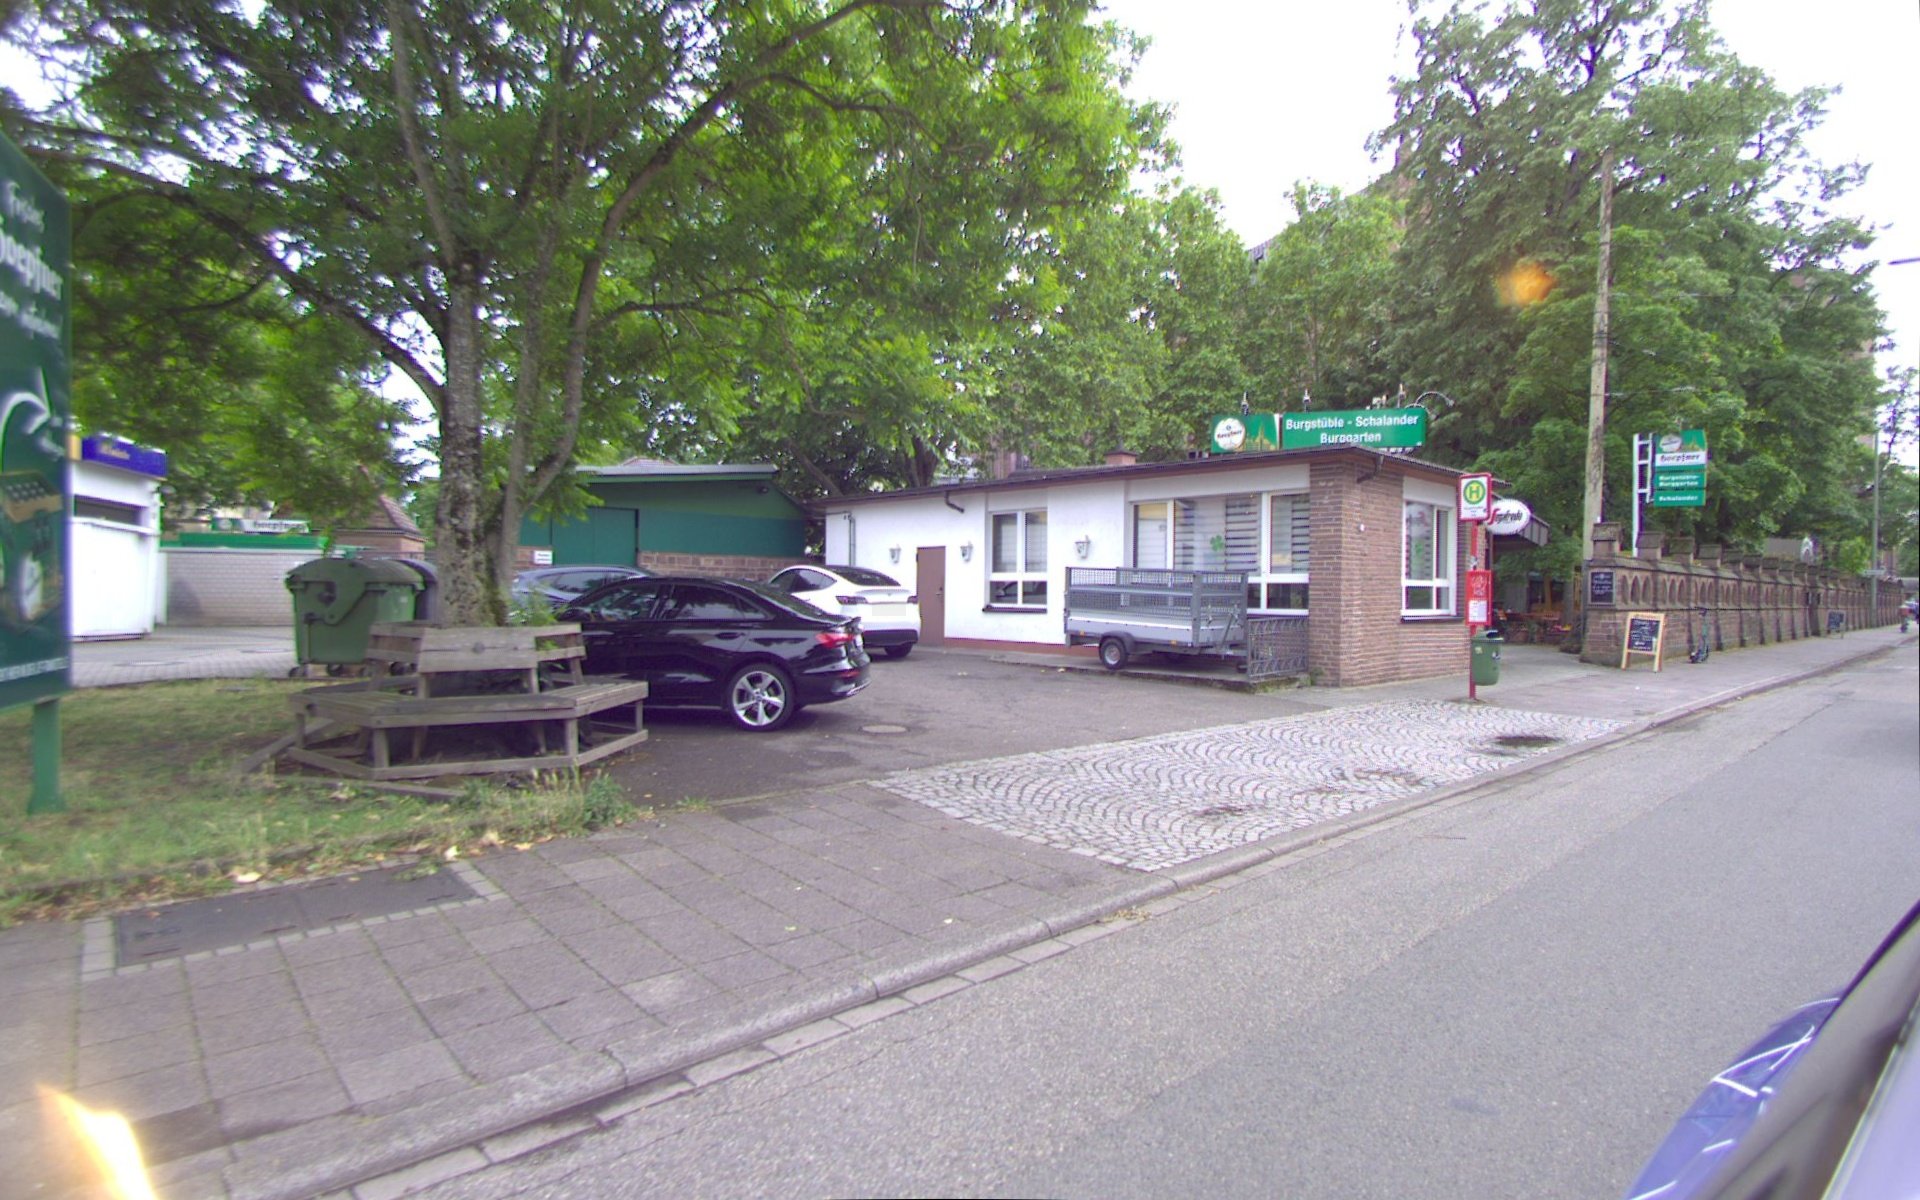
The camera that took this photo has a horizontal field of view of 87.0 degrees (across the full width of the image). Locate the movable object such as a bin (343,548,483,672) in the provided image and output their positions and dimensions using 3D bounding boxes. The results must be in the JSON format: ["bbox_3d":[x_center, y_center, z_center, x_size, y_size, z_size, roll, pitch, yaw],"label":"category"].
[{"bbox_3d":[-7.154,0.139,13.321,1.102,1.510,1.295,3,-2,-2],"label":"movable object such as a bin"}]

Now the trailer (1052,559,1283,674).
[{"bbox_3d":[3.104,0.194,15.523,1.593,1.558,3.167,0,1,-41],"label":"trailer"}]

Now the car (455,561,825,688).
[{"bbox_3d":[-4.204,0.274,13.819,4.455,1.444,1.879,2,3,0],"label":"car"}]

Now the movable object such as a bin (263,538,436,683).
[{"bbox_3d":[-7.145,0.115,11.948,1.102,1.533,1.422,4,-1,-1],"label":"movable object such as a bin"}]

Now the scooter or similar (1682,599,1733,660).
[{"bbox_3d":[16.412,0.630,22.213,1.386,1.254,0.578,0,4,-43],"label":"scooter or similar"}]

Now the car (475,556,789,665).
[{"bbox_3d":[-5.092,0.154,16.250,4.402,1.477,1.987,2,0,-4],"label":"car"}]

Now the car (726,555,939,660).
[{"bbox_3d":[-2.461,0.092,18.558,1.954,1.667,4.436,0,1,-37],"label":"car"}]

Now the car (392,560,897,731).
[{"bbox_3d":[-2.978,0.398,10.271,4.499,1.425,1.935,2,1,1],"label":"car"}]
